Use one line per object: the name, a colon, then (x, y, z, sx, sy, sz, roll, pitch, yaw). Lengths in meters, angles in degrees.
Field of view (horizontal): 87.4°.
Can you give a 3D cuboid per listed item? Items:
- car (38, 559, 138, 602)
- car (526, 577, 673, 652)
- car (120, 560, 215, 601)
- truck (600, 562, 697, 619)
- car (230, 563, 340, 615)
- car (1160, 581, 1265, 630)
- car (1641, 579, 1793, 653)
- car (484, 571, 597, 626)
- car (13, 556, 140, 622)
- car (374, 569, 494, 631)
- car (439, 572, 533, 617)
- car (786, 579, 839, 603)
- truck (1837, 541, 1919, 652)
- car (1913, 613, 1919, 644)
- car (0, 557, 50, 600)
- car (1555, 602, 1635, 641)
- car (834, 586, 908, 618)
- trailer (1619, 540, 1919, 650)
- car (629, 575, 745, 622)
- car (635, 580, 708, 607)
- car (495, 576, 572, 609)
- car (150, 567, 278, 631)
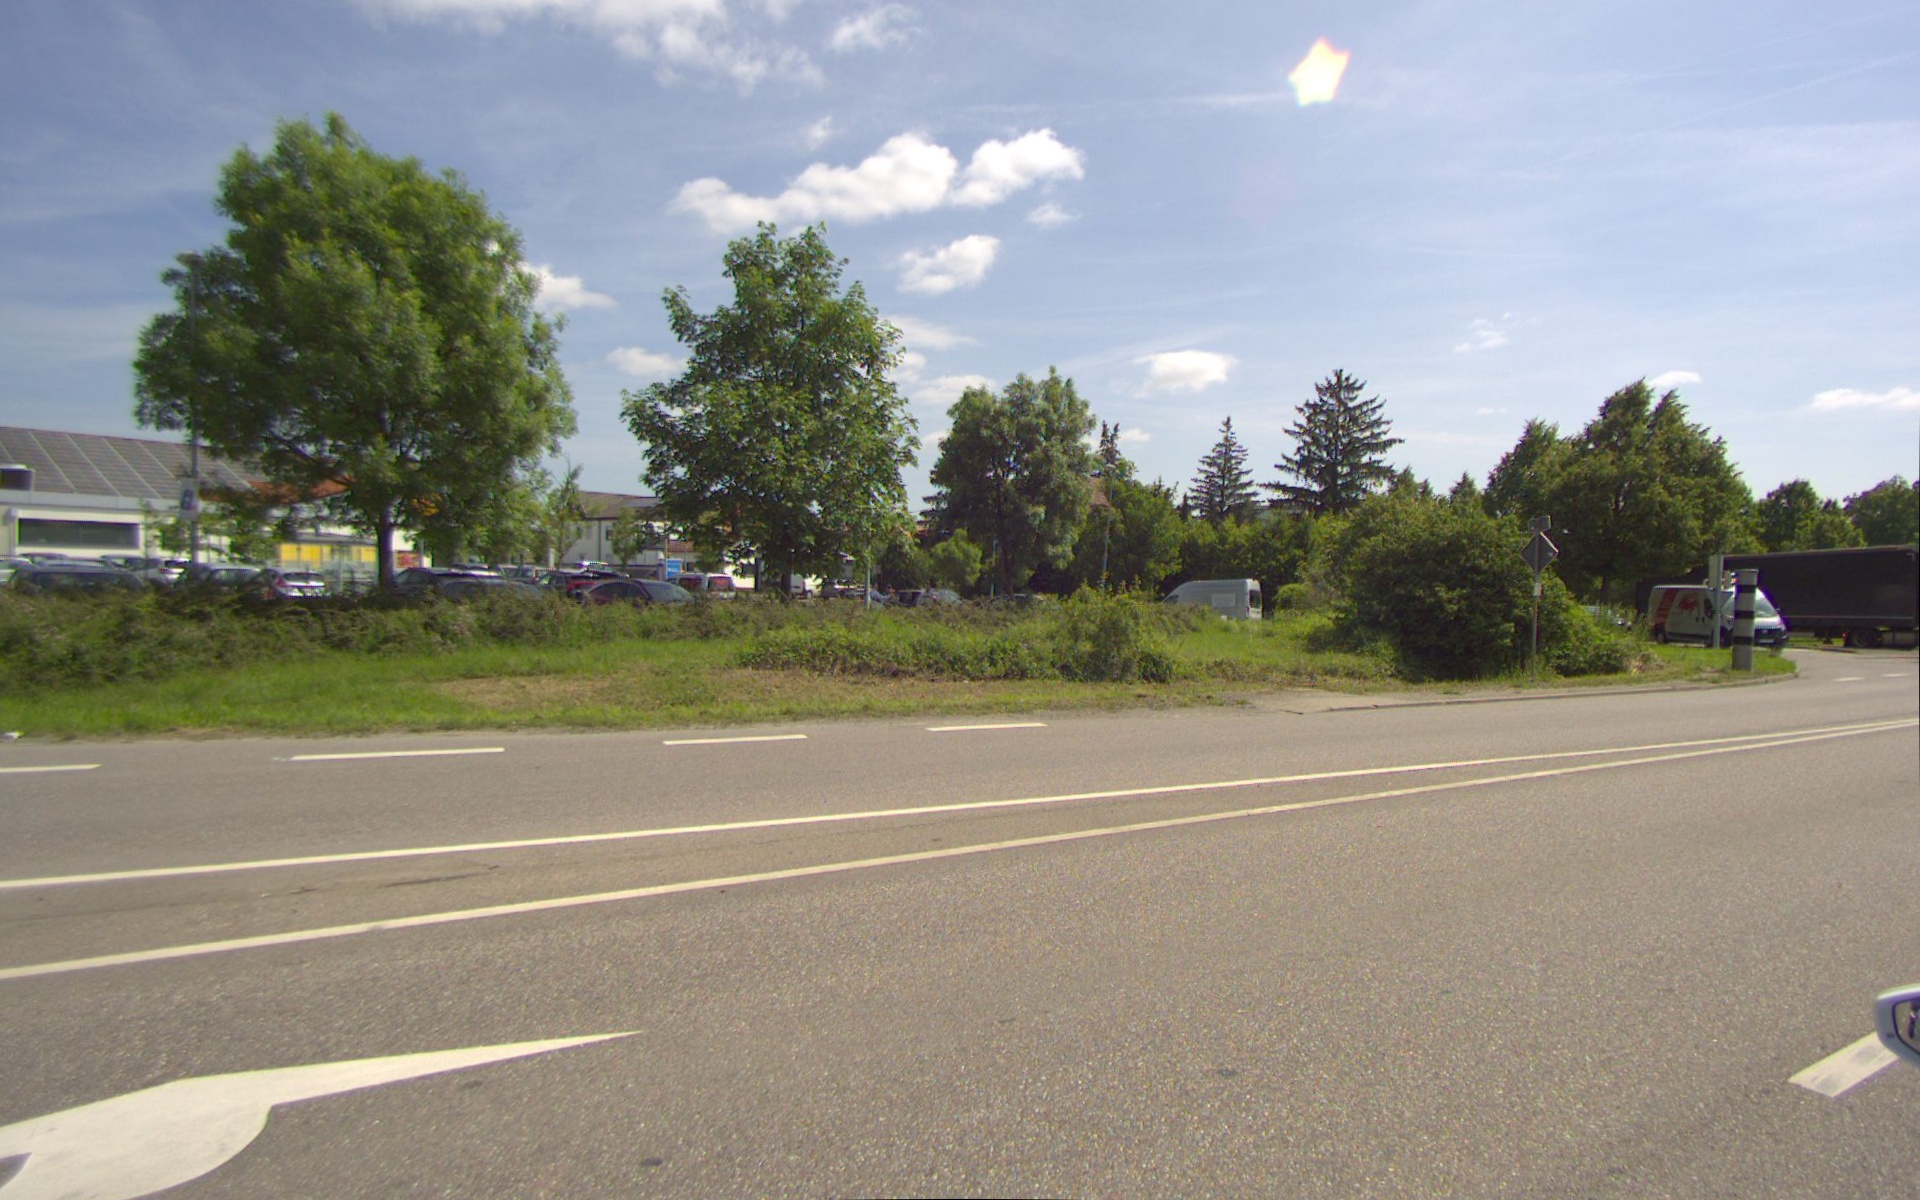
car: (-32.769, -0.745, 37.728, 3.933, 1.461, 1.880, 2, 1, 34)
car: (-8.913, 0.317, 24.705, 3.941, 1.679, 1.686, 2, 0, 42)
car: (-31.505, -0.788, 39.920, 3.933, 1.461, 1.880, 2, 1, 34)
truck: (-13.696, -0.416, 44.163, 3.932, 2.397, 1.994, 2, 0, 34)
car: (-21.812, -0.379, 32.416, 3.936, 1.549, 1.772, 2, 0, 37)
car: (12.347, 0.224, 49.237, 4.524, 2.209, 1.992, 2, 1, 37)
car: (29.462, 0.554, 39.409, 2.081, 2.690, 5.989, 0, 1, 8)
car: (-14.204, -0.070, 33.925, 3.939, 1.711, 1.918, 2, 0, 40)
car: (-24.829, -0.331, 28.178, 4.353, 1.698, 1.858, 2, 1, 37)
car: (-16.160, -0.028, 30.805, 3.939, 1.697, 1.903, 3, 2, 40)
car: (-17.867, -0.217, 37.802, 3.941, 1.549, 1.770, 2, 0, 41)
car: (-11.533, -0.684, 78.657, 1.866, 1.782, 3.988, 2, 0, 35)
truck: (36.919, -0.141, 37.468, 2.749, 4.116, 5.832, 0, 1, -12)
car: (46.204, 1.390, 45.461, 1.967, 1.448, 3.987, 2, 0, -15)
car: (-34.381, -0.800, 35.896, 3.933, 1.461, 1.880, 2, 1, 34)
car: (30.903, 1.032, 49.040, 1.834, 1.773, 4.113, 2, 0, 10)
car: (-4.940, 0.145, 56.265, 1.883, 1.662, 3.984, 2, 0, 38)
trailer: (35.836, -0.258, 44.468, 2.747, 4.116, 13.709, 0, 1, -8)
car: (-10.673, -0.088, 39.135, 4.353, 1.717, 1.994, 1, 0, 34)
car: (-18.485, -0.410, 64.471, 1.849, 1.562, 4.243, 2, 0, 37)
car: (-21.644, -0.398, 50.922, 4.193, 1.562, 1.871, 2, 0, 40)
car: (-20.154, -0.061, 27.084, 4.082, 1.522, 1.776, 3, 1, 38)
